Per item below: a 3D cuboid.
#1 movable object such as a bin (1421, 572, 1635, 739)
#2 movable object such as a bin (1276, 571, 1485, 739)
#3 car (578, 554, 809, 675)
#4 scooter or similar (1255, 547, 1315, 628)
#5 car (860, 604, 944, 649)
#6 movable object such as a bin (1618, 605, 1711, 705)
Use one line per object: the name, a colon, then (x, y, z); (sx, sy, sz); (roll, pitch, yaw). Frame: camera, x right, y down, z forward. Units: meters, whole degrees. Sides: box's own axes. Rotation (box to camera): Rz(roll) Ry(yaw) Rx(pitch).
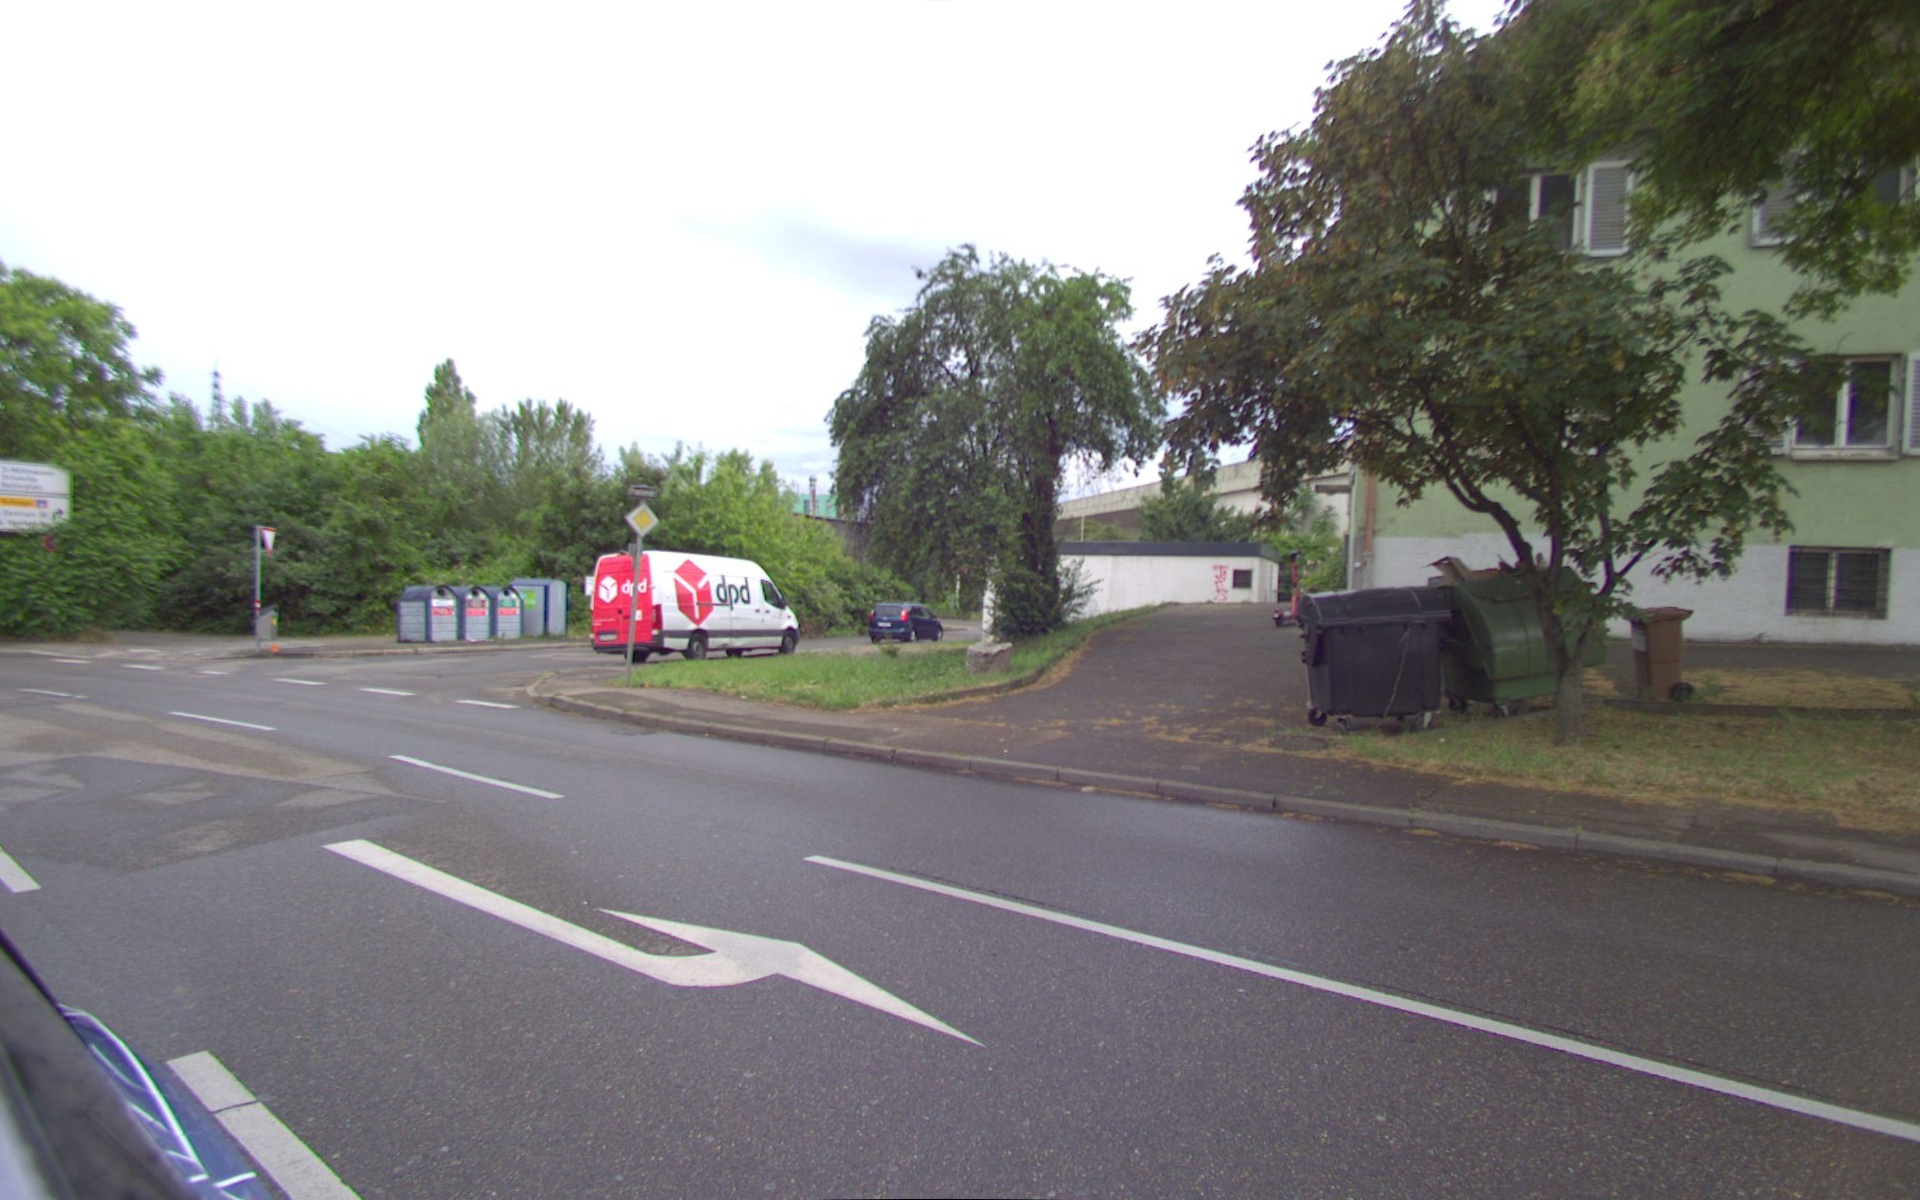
movable object such as a bin: (5.700, 0.514, 10.234); (1.440, 1.448, 1.102); (-5, 3, -6)
movable object such as a bin: (4.244, 0.504, 10.343); (1.440, 1.448, 1.296); (-5, 3, -6)
car: (-6.514, 0.304, 25.922); (2.246, 2.675, 6.777); (1, 0, 20)
scooter or similar: (5.520, -0.236, 17.149); (0.529, 1.283, 1.507); (1, 4, 35)
car: (-2.233, 1.003, 40.411); (1.984, 1.642, 4.228); (1, 0, 18)
movable object such as a bin: (7.201, 0.537, 10.349); (0.723, 0.964, 0.551); (1, 0, 41)
